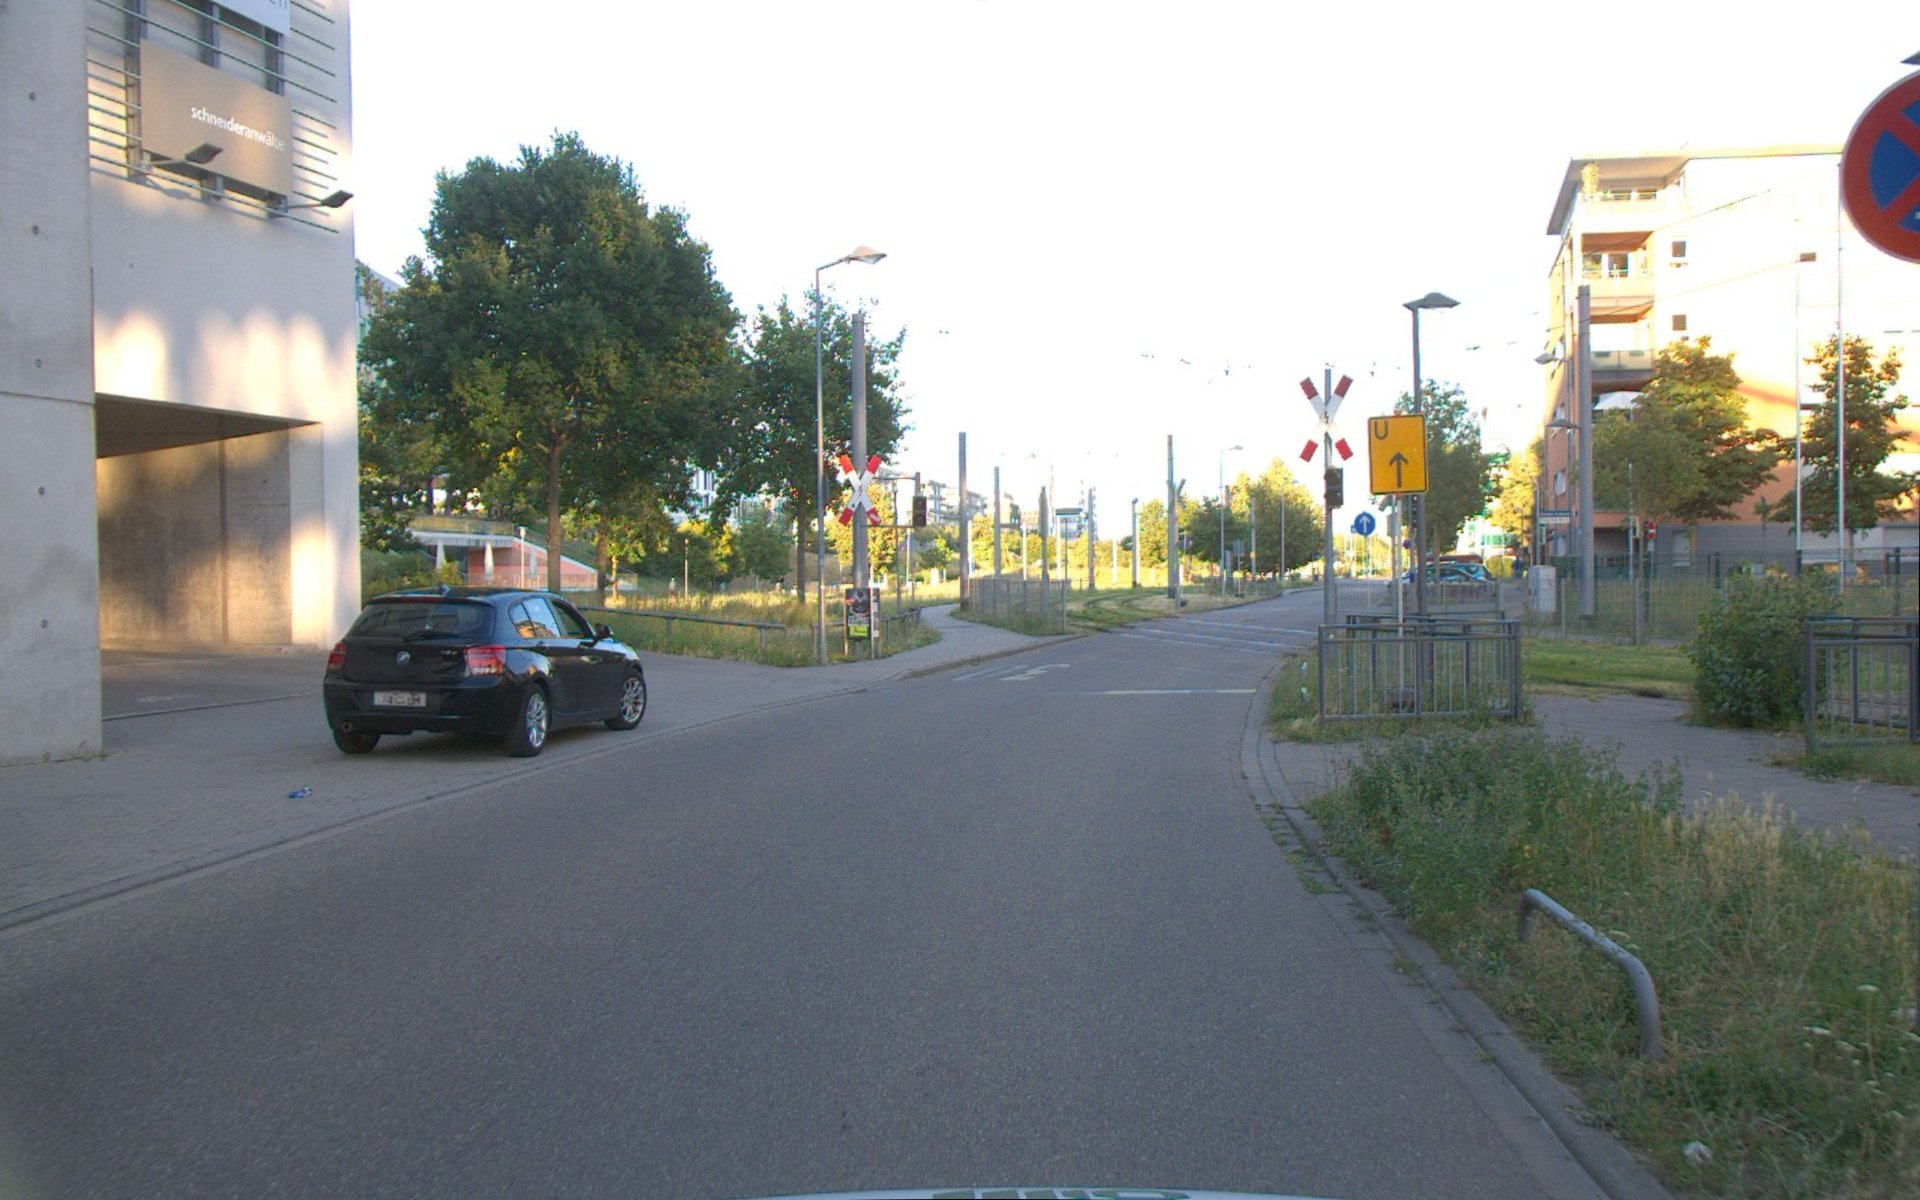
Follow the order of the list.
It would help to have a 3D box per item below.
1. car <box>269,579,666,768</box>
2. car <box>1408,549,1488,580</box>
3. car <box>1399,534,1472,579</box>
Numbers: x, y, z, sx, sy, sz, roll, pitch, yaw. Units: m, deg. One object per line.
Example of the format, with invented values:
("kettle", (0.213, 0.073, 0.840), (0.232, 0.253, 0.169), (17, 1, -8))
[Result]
("car", (-4.276, 0.545, 15.207), (1.903, 1.406, 4.403), (2, 1, 6))
("car", (26.081, -1.909, 88.533), (4.065, 1.603, 1.704), (0, 1, 15))
("car", (28.594, -2.588, 99.521), (4.064, 2.629, 1.705), (0, 1, 12))
